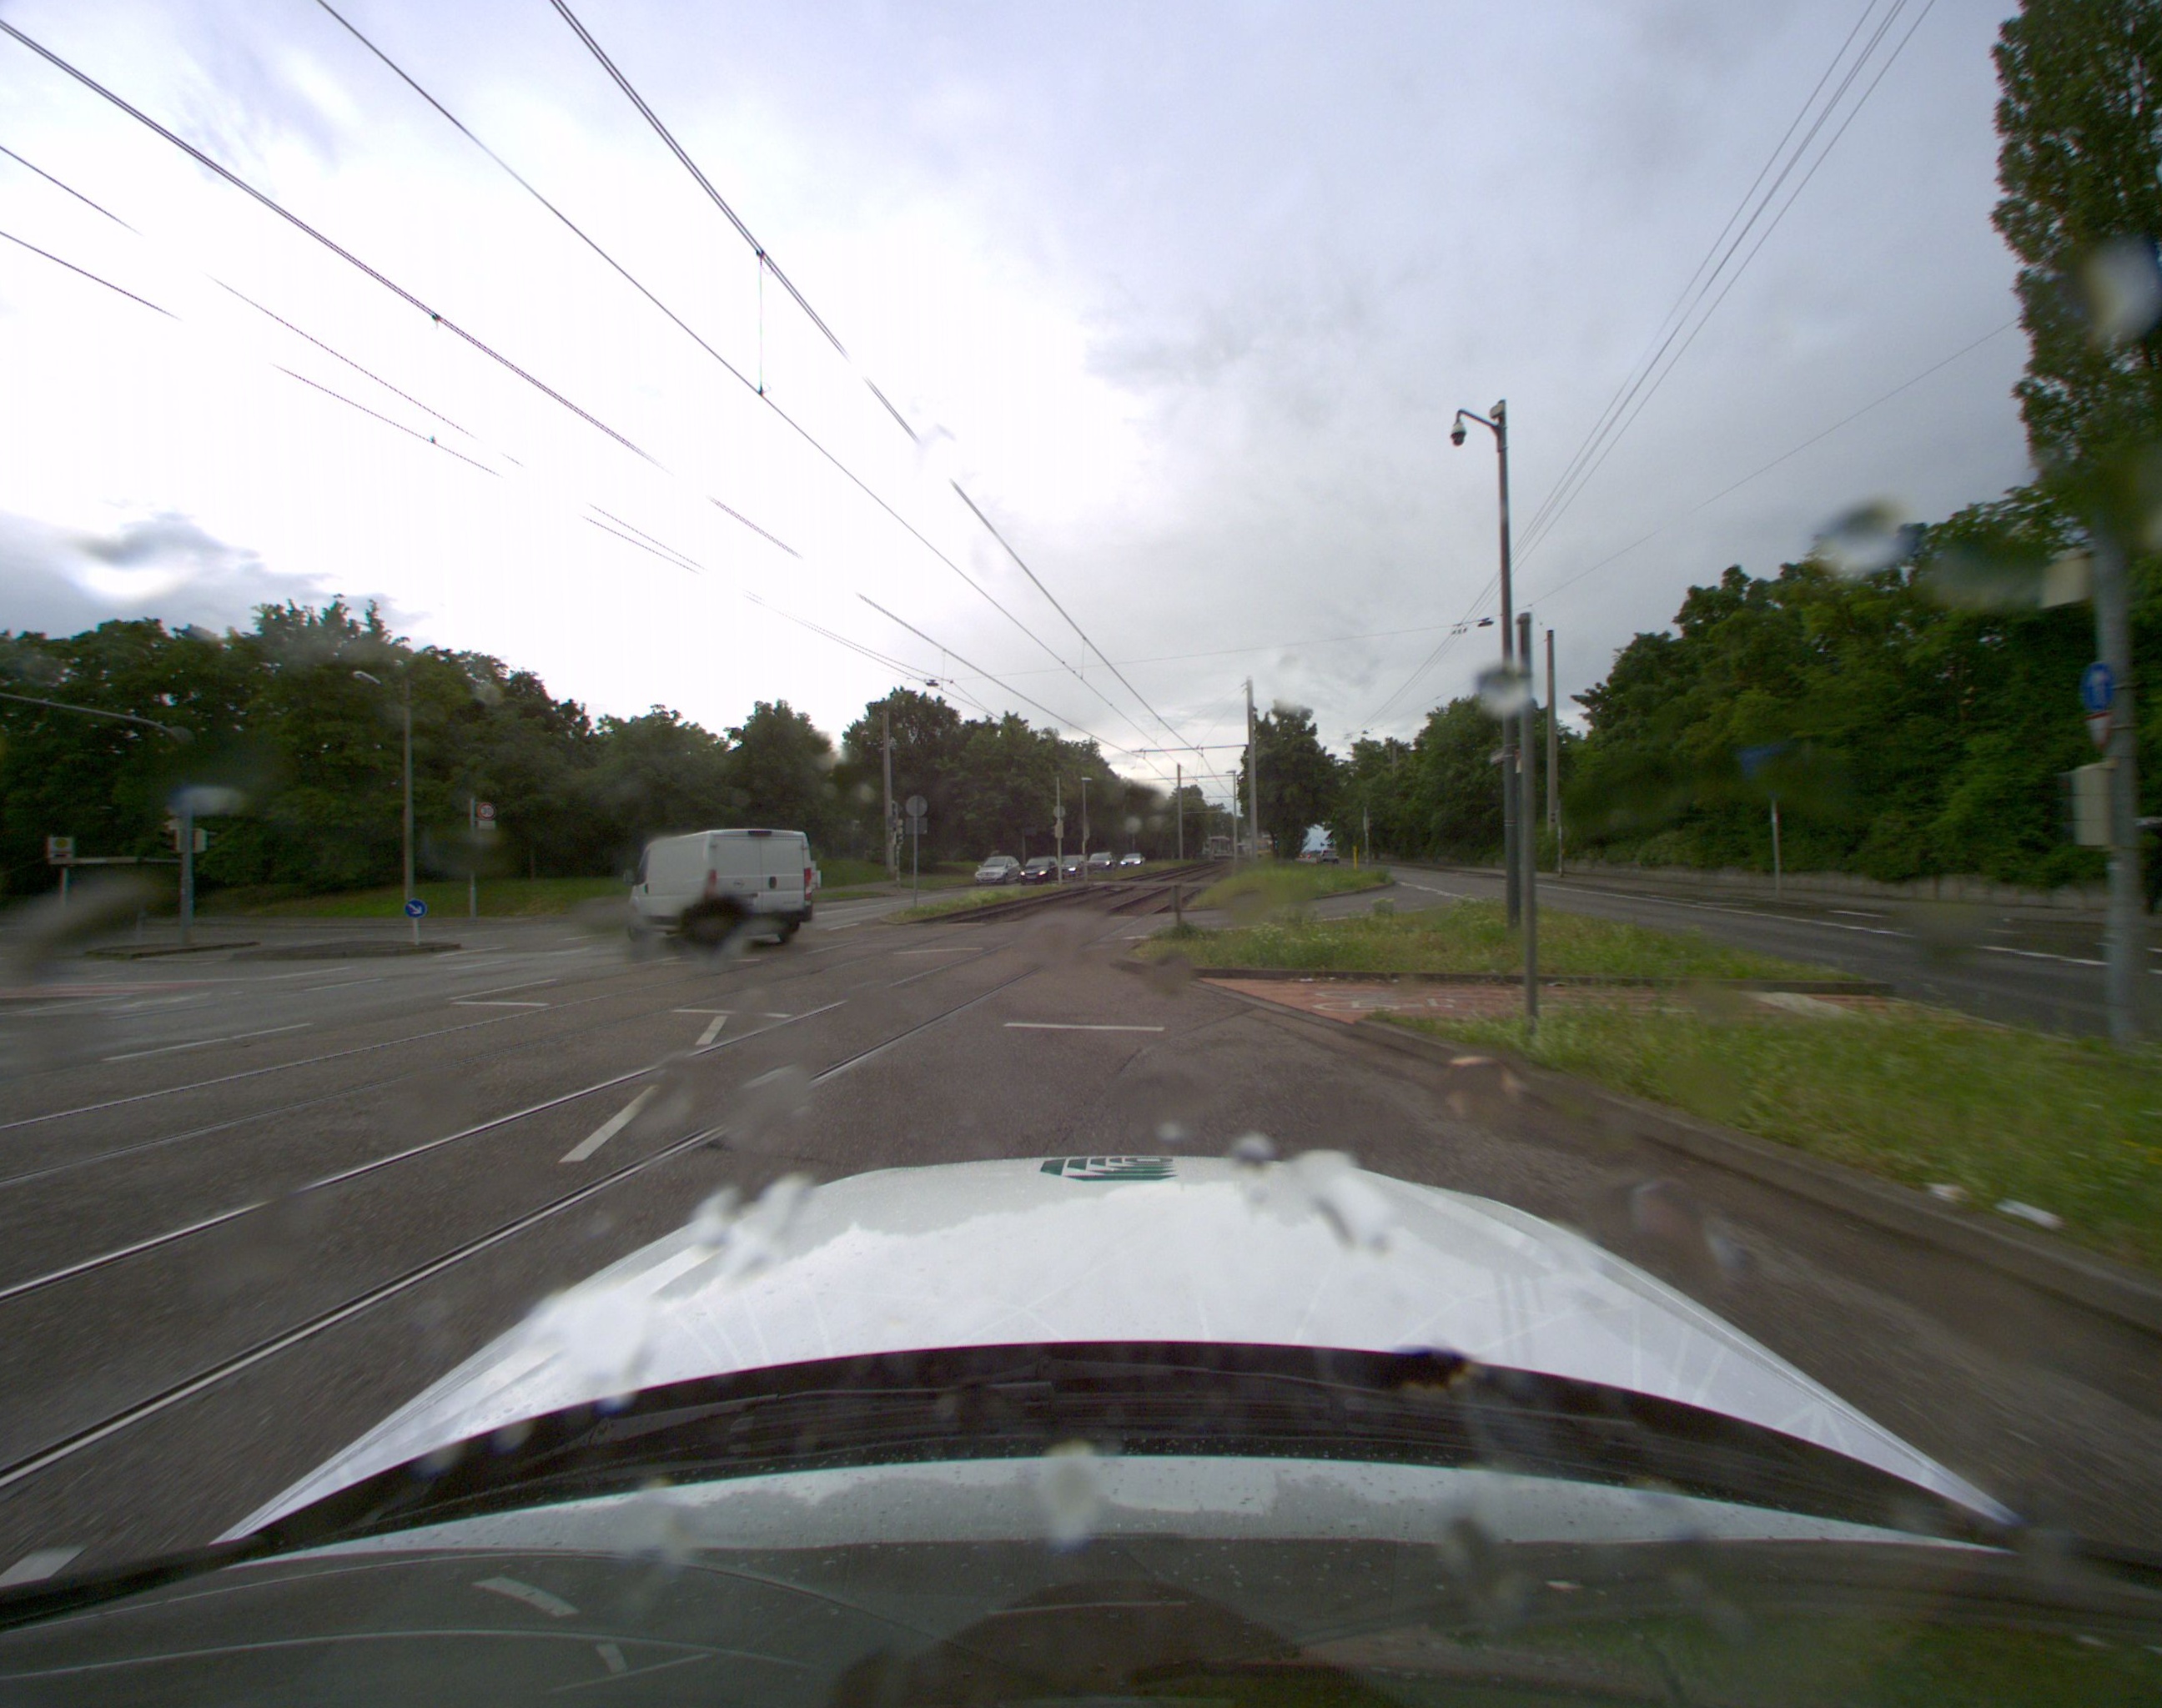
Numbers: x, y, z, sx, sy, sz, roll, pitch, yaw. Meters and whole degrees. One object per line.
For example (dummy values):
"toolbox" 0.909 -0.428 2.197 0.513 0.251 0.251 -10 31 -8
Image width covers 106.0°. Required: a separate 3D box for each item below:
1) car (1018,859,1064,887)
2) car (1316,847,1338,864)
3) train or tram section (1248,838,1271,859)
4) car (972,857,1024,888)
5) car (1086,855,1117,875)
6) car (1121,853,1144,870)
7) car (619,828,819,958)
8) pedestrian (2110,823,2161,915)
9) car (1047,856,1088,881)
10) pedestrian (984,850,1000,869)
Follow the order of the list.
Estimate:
"car" -2.146 0.987 44.779 1.590 1.401 3.805 0 1 13
"car" 23.371 0.103 77.440 1.692 1.521 3.804 0 1 12
"train or tram section" 35.512 -1.007 161.643 4.031 3.894 15.097 0 0 14
"car" -4.741 1.036 47.125 1.707 1.554 3.876 -4 0 13
"car" 1.570 0.798 61.369 1.590 1.401 3.805 0 1 13
"car" 4.952 0.691 77.616 1.590 1.402 3.805 -3 0 13
"car" -7.629 0.694 16.890 2.166 2.283 5.000 -2 1 -44
"pedestrian" 19.077 0.271 14.399 0.801 1.607 0.686 0 -2 16
"car" -0.795 0.870 50.468 1.590 1.401 3.805 -4 0 13
"pedestrian" -7.287 0.450 66.695 1.007 1.601 1.042 -1 0 8
